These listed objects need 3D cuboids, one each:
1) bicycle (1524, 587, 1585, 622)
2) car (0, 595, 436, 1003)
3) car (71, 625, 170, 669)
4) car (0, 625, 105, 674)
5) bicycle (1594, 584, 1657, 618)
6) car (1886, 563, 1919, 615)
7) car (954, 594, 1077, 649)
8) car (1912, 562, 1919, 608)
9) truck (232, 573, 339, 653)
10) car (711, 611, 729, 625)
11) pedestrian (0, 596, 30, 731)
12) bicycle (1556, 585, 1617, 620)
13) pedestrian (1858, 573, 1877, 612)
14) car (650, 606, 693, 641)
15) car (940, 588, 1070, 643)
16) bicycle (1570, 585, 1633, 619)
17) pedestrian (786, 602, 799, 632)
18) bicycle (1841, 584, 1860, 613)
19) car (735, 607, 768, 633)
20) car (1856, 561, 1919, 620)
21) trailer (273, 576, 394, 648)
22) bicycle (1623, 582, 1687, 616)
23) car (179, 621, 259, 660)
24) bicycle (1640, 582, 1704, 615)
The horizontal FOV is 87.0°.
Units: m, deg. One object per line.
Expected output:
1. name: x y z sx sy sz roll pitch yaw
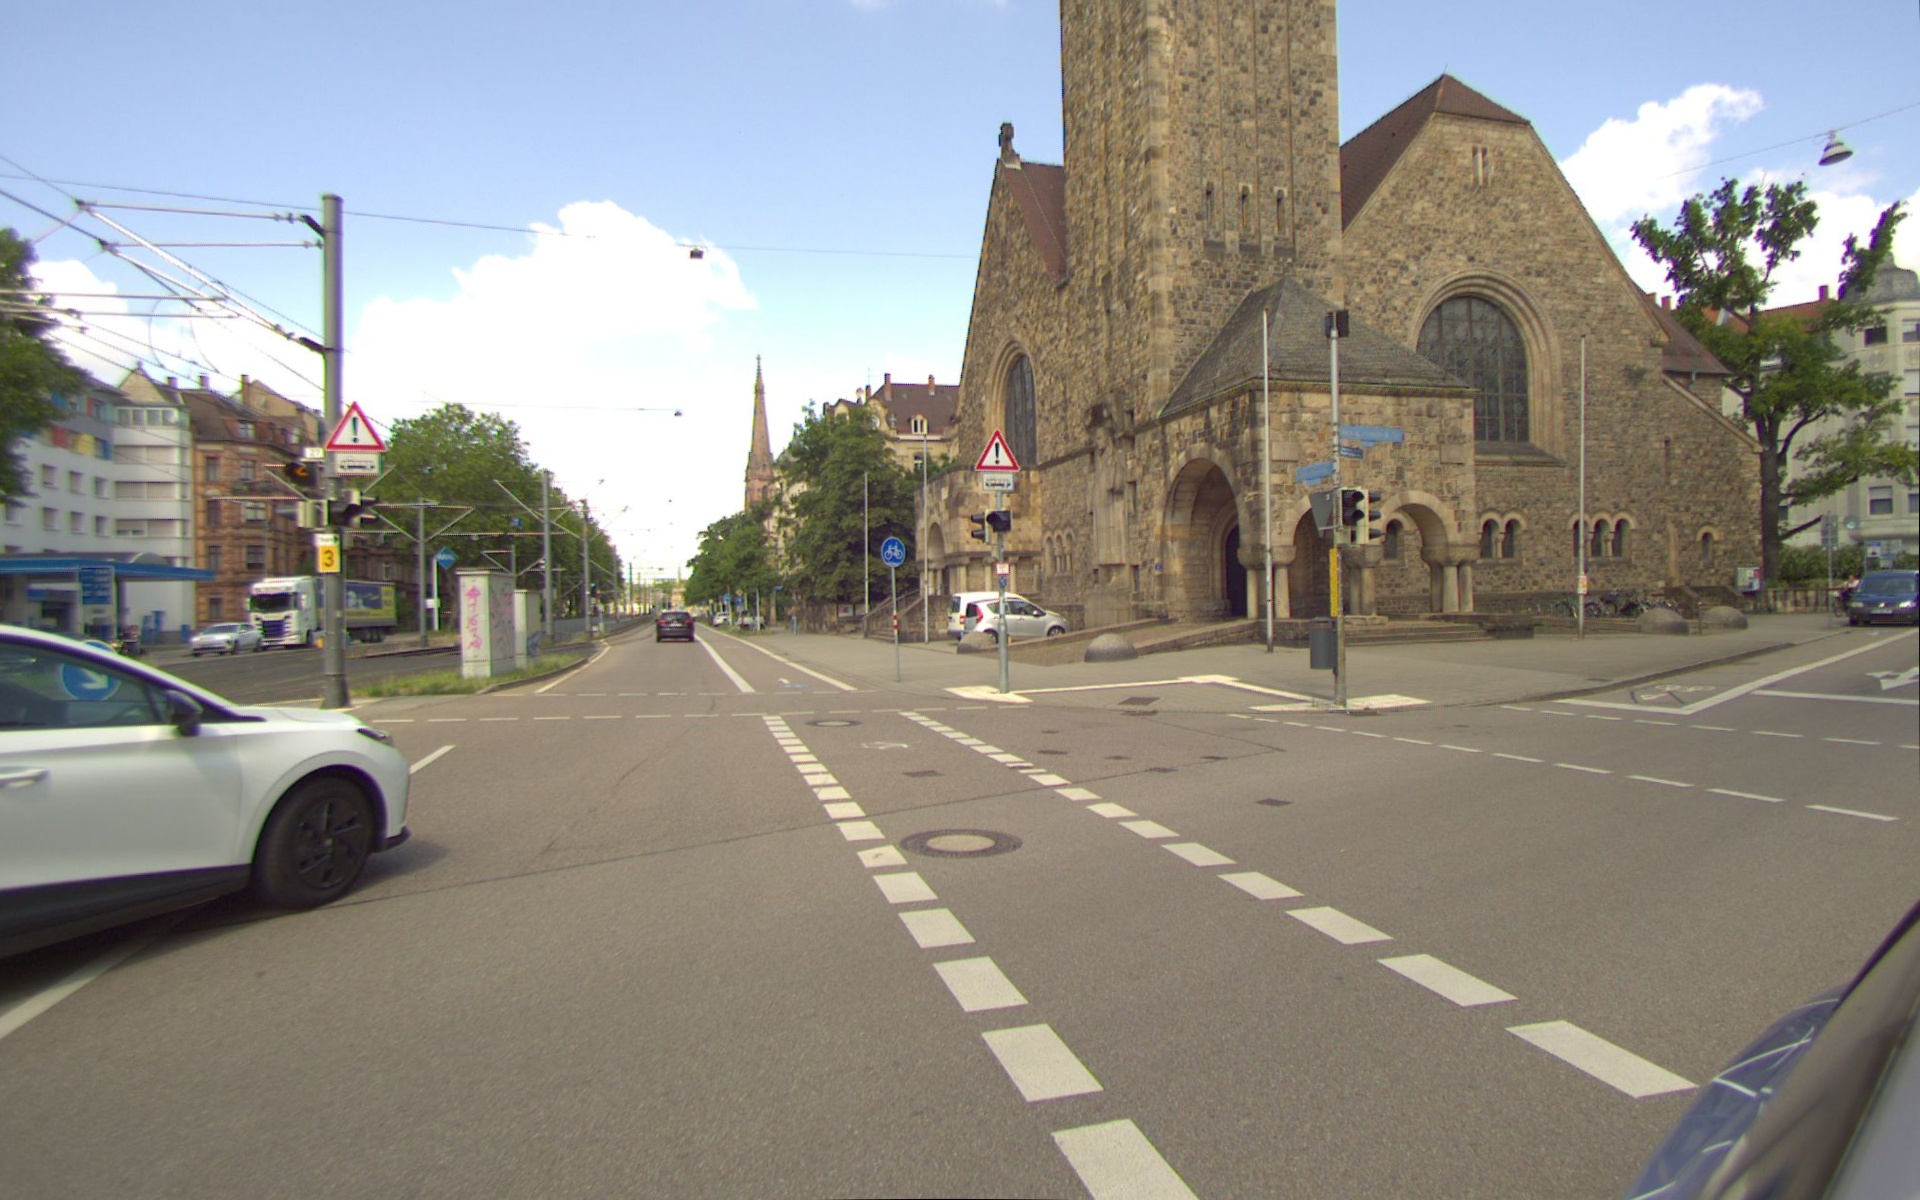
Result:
1. bicycle: 20.845 0.130 35.538 0.574 1.126 1.944 -2 3 -19
2. car: -4.462 0.779 4.100 1.796 1.525 4.107 -2 -1 17
3. car: -33.778 1.843 40.849 1.651 1.583 3.760 -2 0 -15
4. car: -31.913 1.701 35.142 1.816 1.465 3.981 -1 0 -14
5. bicycle: 23.938 0.010 36.432 0.574 1.126 1.944 -2 3 -19
6. car: 34.983 -0.423 36.592 3.929 1.814 1.682 -1 0 -40
7. car: 1.800 0.699 32.971 3.561 1.700 1.822 0 -2 -19
8. car: 39.525 -0.638 40.432 3.929 1.814 1.682 -1 0 -40
9. truck: -38.439 0.687 57.978 2.857 4.201 6.603 -2 0 -13
10. car: -23.695 1.789 99.805 1.621 1.249 3.069 -2 0 -15
11. pedestrian: -12.941 0.843 13.323 0.756 1.753 0.745 -1 -1 -16
12. bicycle: 22.297 0.073 36.058 0.574 1.126 1.944 -2 3 -19
13. pedestrian: 34.555 -0.284 38.525 0.465 1.474 0.547 -2 -1 45
14. car: -13.692 1.101 48.222 1.748 1.554 4.394 -1 0 -13
15. car: 1.603 0.559 36.479 4.214 1.878 2.003 0 -2 -16
16. bicycle: 22.966 0.047 36.271 0.574 1.126 1.944 -2 3 -19
17. pedestrian: -9.702 0.974 58.552 0.645 1.686 0.847 -1 -1 -13
18. bicycle: 34.221 -0.057 38.886 0.479 1.065 1.420 -2 -1 44
19. car: -13.408 1.295 64.982 1.752 1.514 3.844 -2 0 -15
20. car: 30.873 -0.324 33.116 4.072 1.814 1.682 -1 0 -40
21. trailer: -40.097 0.716 65.376 2.857 4.129 11.672 -2 0 -12
22. bicycle: 25.365 -0.046 36.965 0.574 1.126 1.944 -2 3 -19
23. car: -36.655 1.956 50.182 1.816 1.727 4.142 -2 0 -15
24. bicycle: 26.124 -0.075 37.175 0.574 1.126 1.944 -2 3 -19
